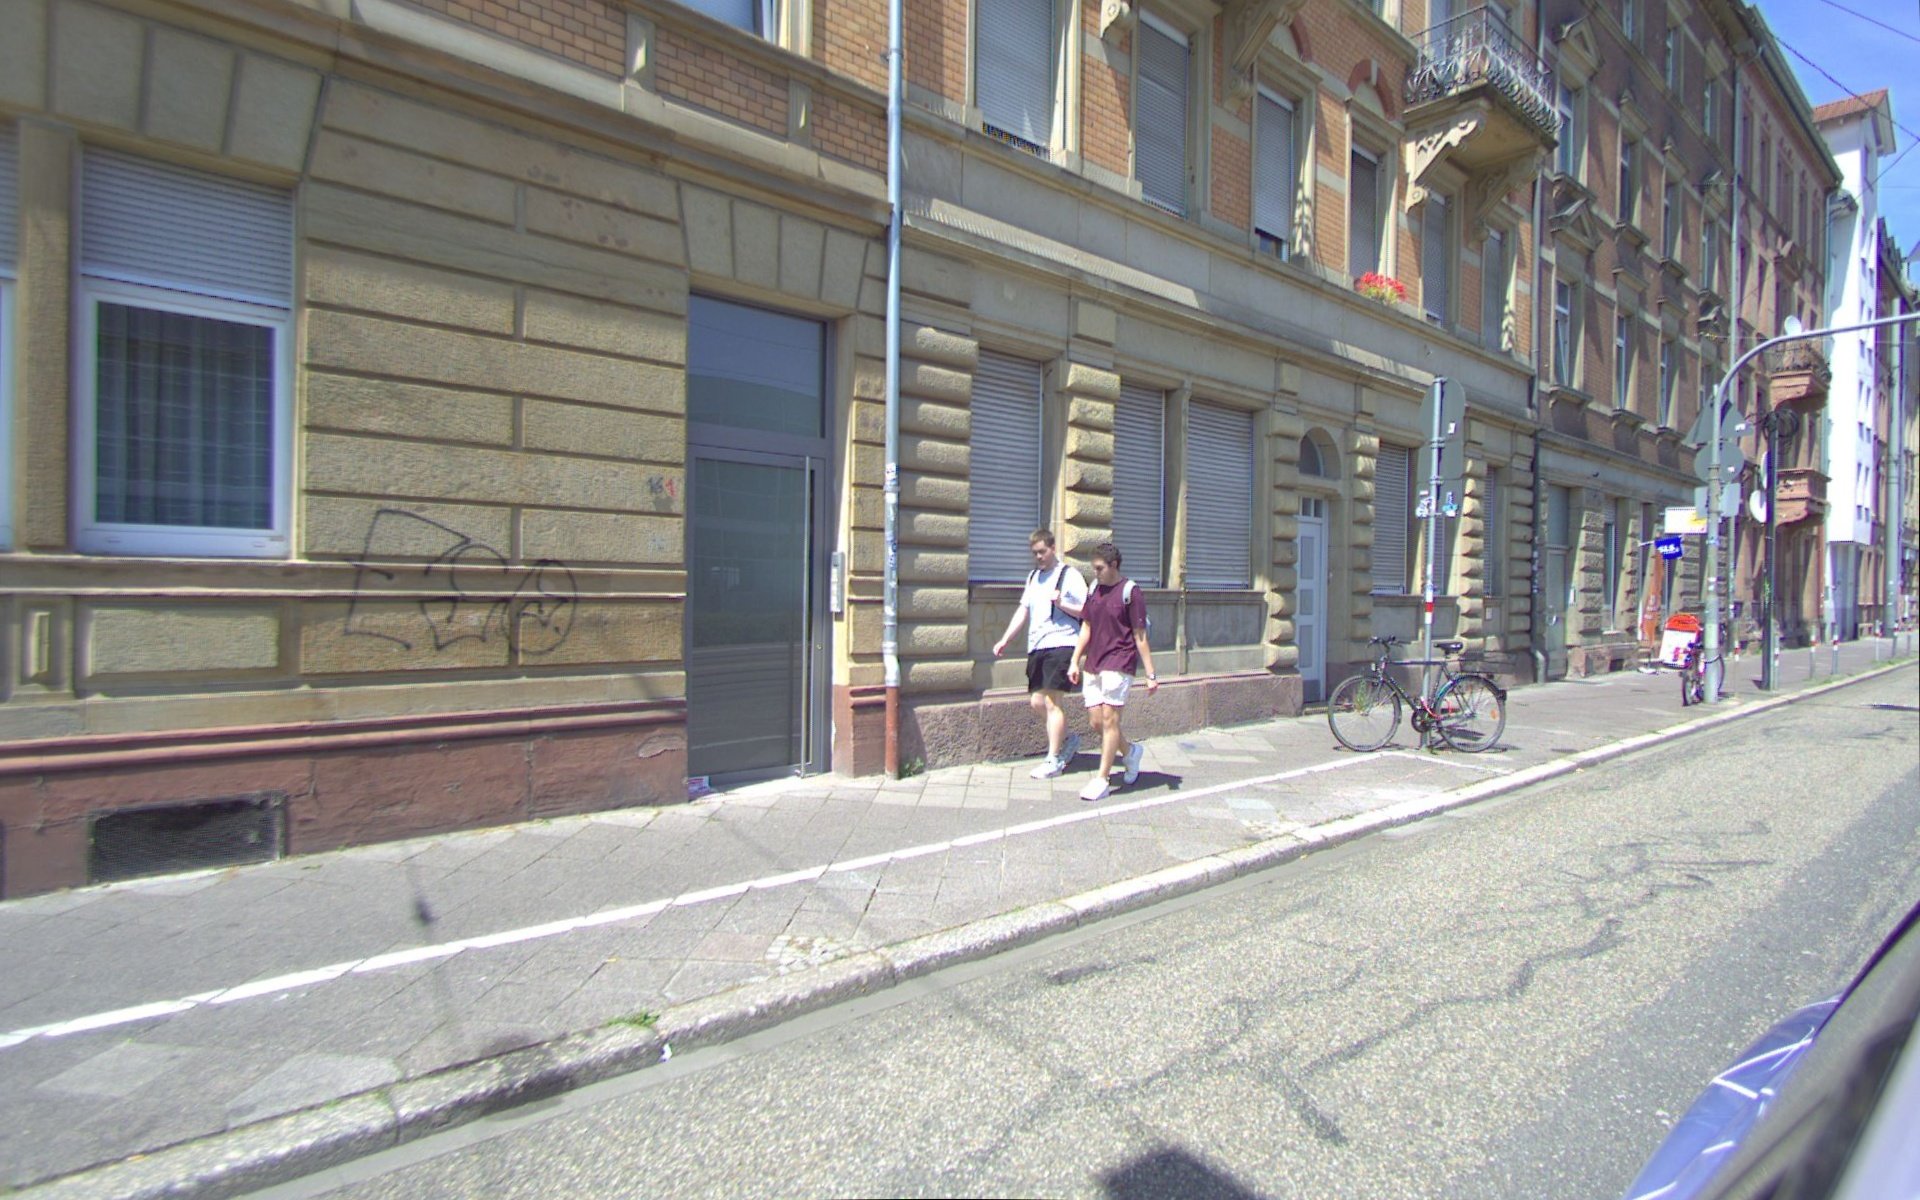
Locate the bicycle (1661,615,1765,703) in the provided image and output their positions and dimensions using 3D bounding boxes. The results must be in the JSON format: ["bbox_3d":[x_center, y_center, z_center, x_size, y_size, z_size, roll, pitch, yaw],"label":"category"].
[{"bbox_3d":[10.549,0.784,14.142,2.377,1.111,0.449,0,1,-36],"label":"bicycle"}]

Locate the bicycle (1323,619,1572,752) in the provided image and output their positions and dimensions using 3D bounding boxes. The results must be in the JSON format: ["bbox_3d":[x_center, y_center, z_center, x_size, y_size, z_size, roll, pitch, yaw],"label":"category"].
[{"bbox_3d":[4.490,0.768,9.323,2.196,1.145,0.501,1,1,-12],"label":"bicycle"}]

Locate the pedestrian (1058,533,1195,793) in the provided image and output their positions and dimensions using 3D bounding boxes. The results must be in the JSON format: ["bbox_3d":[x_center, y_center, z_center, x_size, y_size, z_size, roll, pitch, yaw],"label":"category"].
[{"bbox_3d":[1.186,0.412,7.249,0.632,1.741,0.722,0,1,-39],"label":"pedestrian"}]

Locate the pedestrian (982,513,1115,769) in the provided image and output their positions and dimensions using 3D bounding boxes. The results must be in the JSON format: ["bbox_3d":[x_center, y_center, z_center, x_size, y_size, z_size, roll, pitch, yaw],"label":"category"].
[{"bbox_3d":[0.681,0.279,7.871,0.632,1.871,0.704,0,4,-39],"label":"pedestrian"}]
